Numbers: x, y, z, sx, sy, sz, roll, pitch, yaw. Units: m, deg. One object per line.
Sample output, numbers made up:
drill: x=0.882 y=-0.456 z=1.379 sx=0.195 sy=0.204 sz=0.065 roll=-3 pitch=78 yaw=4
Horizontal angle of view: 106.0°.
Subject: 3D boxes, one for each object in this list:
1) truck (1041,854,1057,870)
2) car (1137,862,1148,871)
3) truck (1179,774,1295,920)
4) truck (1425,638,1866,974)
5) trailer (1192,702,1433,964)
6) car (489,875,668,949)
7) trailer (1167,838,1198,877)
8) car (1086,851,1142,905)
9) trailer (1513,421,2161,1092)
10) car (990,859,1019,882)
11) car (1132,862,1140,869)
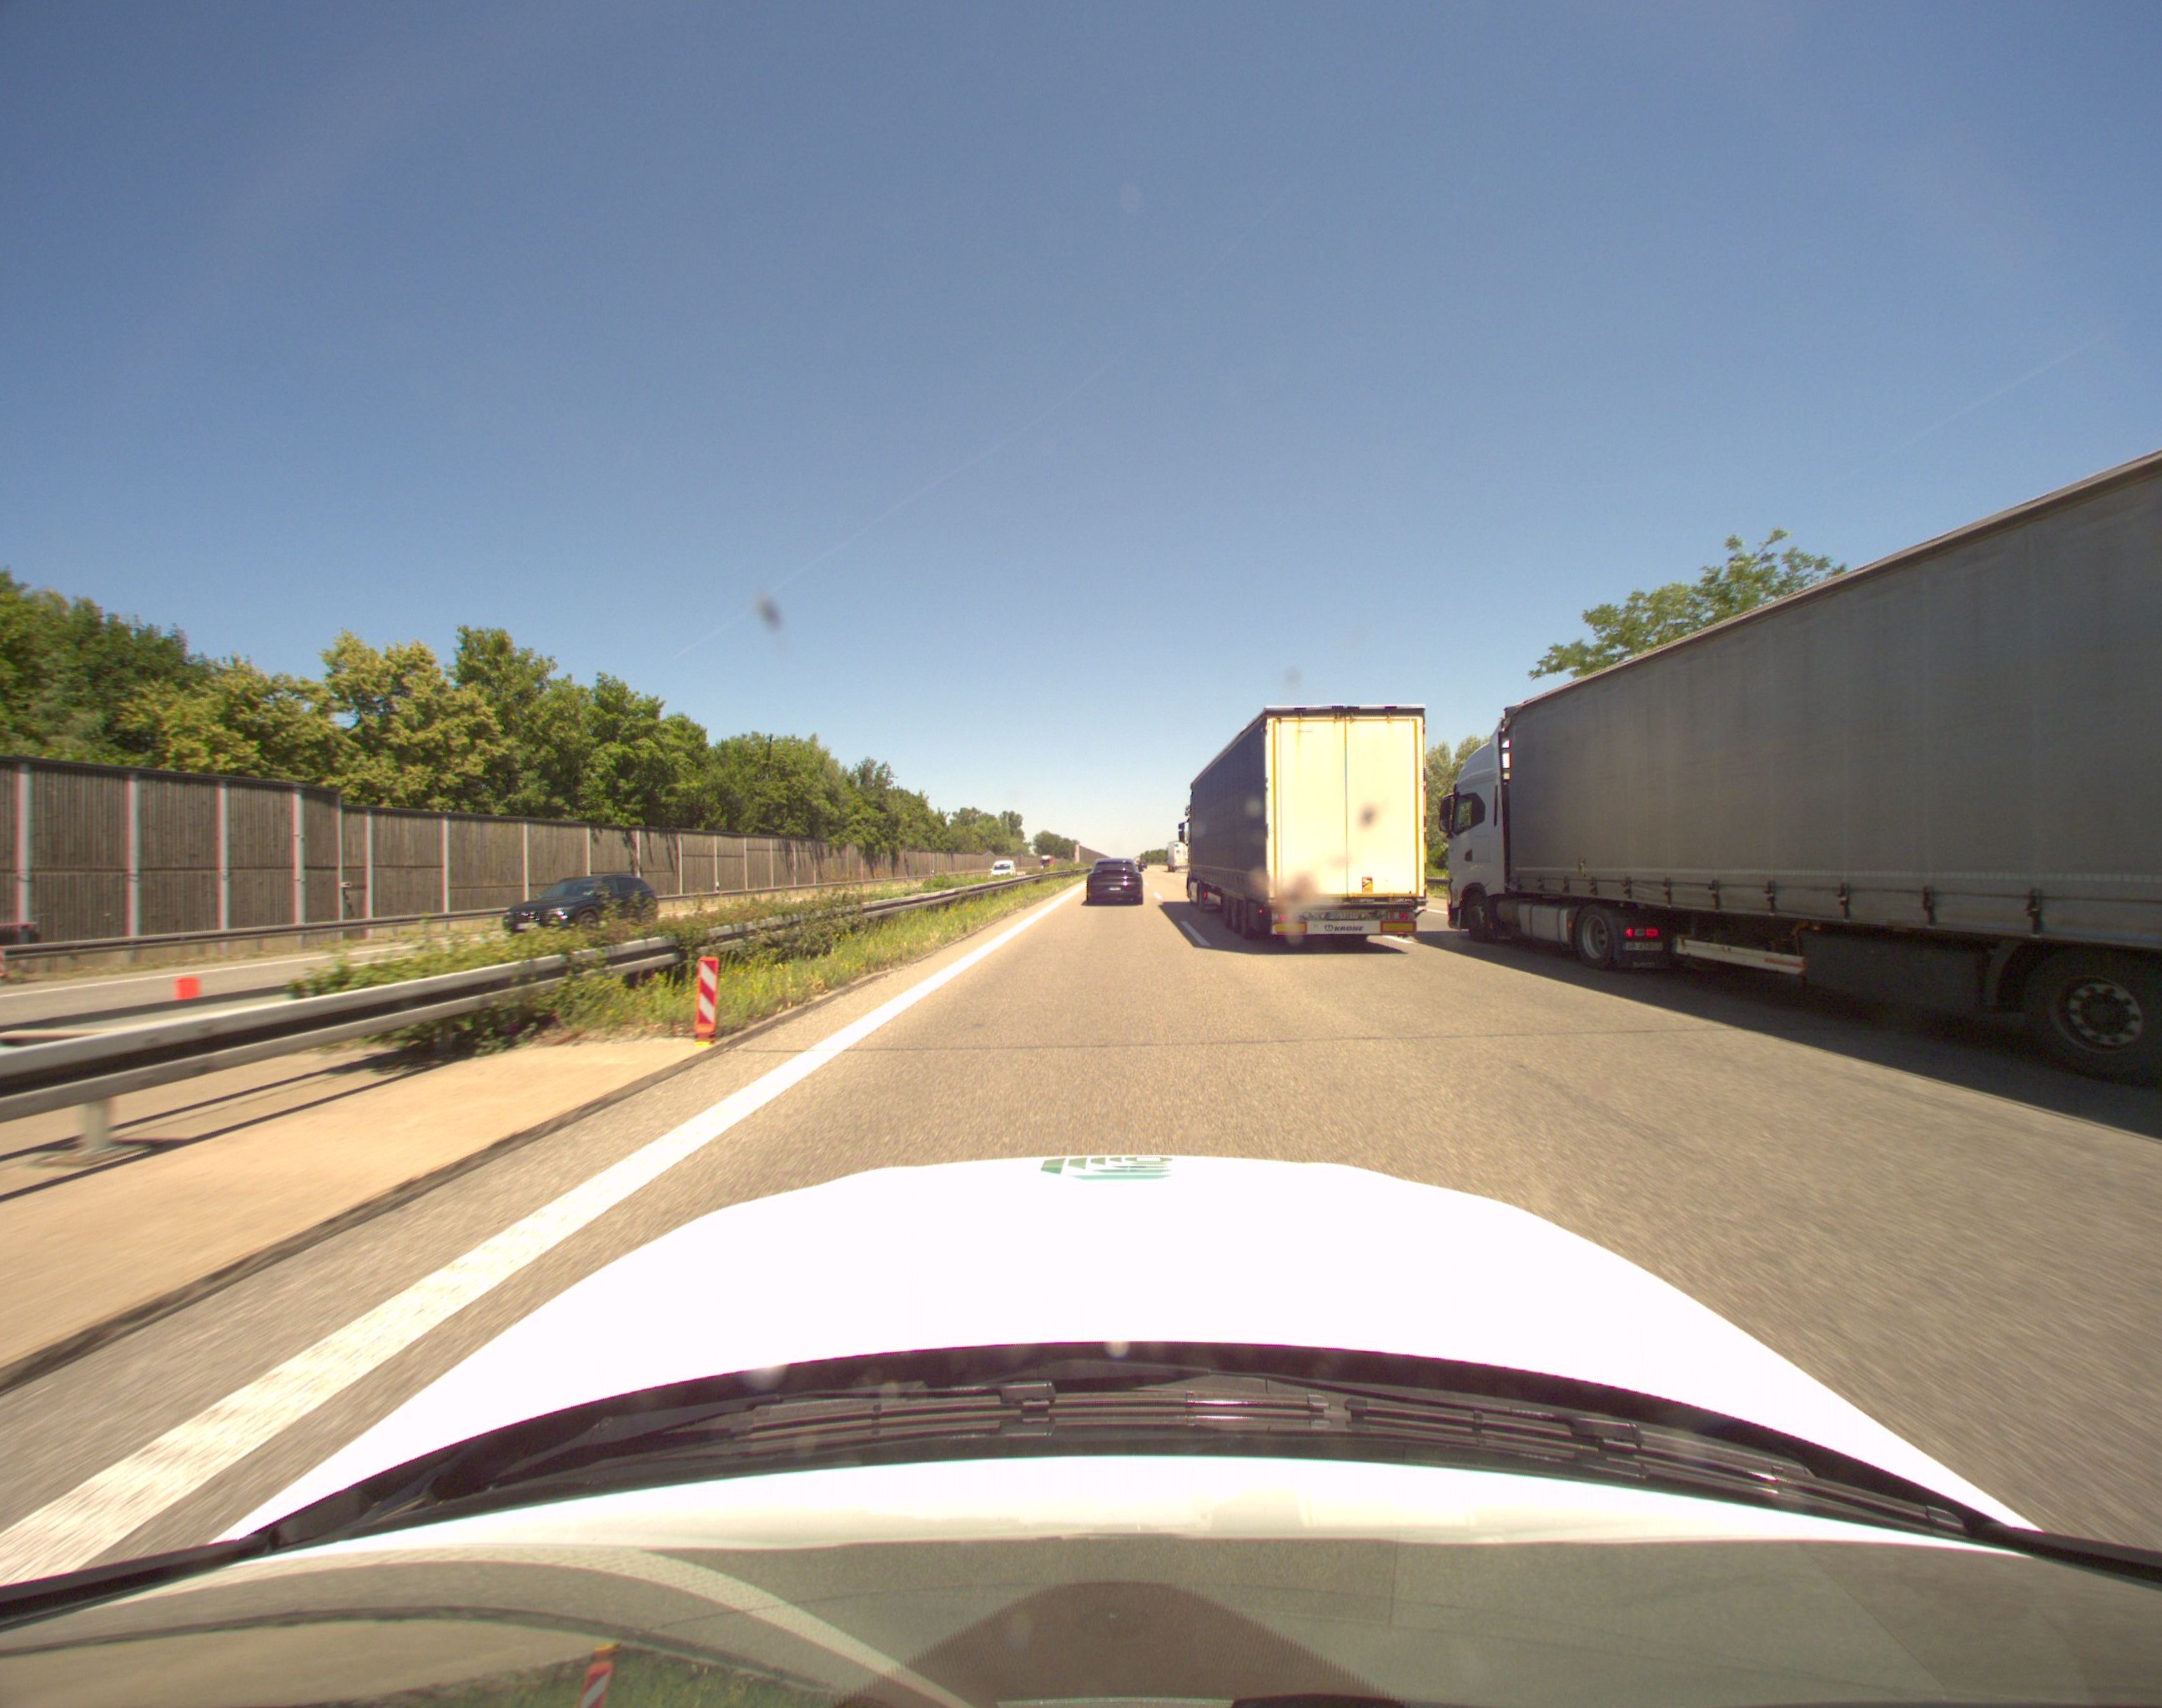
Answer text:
truck: x=-7.455 y=1.918 z=193.096 sx=2.688 sy=3.492 sz=10.862 roll=0 pitch=-1 yaw=3
car: x=11.271 y=2.357 z=150.085 sx=1.895 sy=1.584 sz=4.307 roll=-1 pitch=-2 yaw=3
truck: x=4.824 y=-0.146 z=26.552 sx=2.690 sy=4.118 sz=6.993 roll=0 pitch=-1 yaw=2
truck: x=8.393 y=-0.548 z=13.506 sx=2.689 sy=4.118 sz=6.995 roll=0 pitch=-1 yaw=3
trailer: x=4.463 y=-0.251 z=18.887 sx=2.689 sy=4.118 sz=12.139 roll=0 pitch=-1 yaw=3
car: x=-13.236 y=1.463 z=21.857 sx=1.873 sy=1.692 sz=4.550 roll=-1 pitch=-1 yaw=1
trailer: x=13.360 y=0.523 z=108.322 sx=3.255 sy=4.838 sz=14.040 roll=0 pitch=-1 yaw=3
car: x=1.170 y=0.831 z=29.446 sx=1.873 sy=1.792 sz=4.001 roll=-1 pitch=-1 yaw=1
trailer: x=8.060 y=-0.578 z=6.605 sx=2.689 sy=4.118 sz=13.249 roll=0 pitch=-1 yaw=3
car: x=-6.228 y=1.328 z=66.685 sx=1.776 sy=1.840 sz=4.561 roll=-2 pitch=-1 yaw=2
car: x=13.634 y=2.833 z=203.463 sx=1.895 sy=1.584 sz=4.307 roll=-1 pitch=-2 yaw=3
